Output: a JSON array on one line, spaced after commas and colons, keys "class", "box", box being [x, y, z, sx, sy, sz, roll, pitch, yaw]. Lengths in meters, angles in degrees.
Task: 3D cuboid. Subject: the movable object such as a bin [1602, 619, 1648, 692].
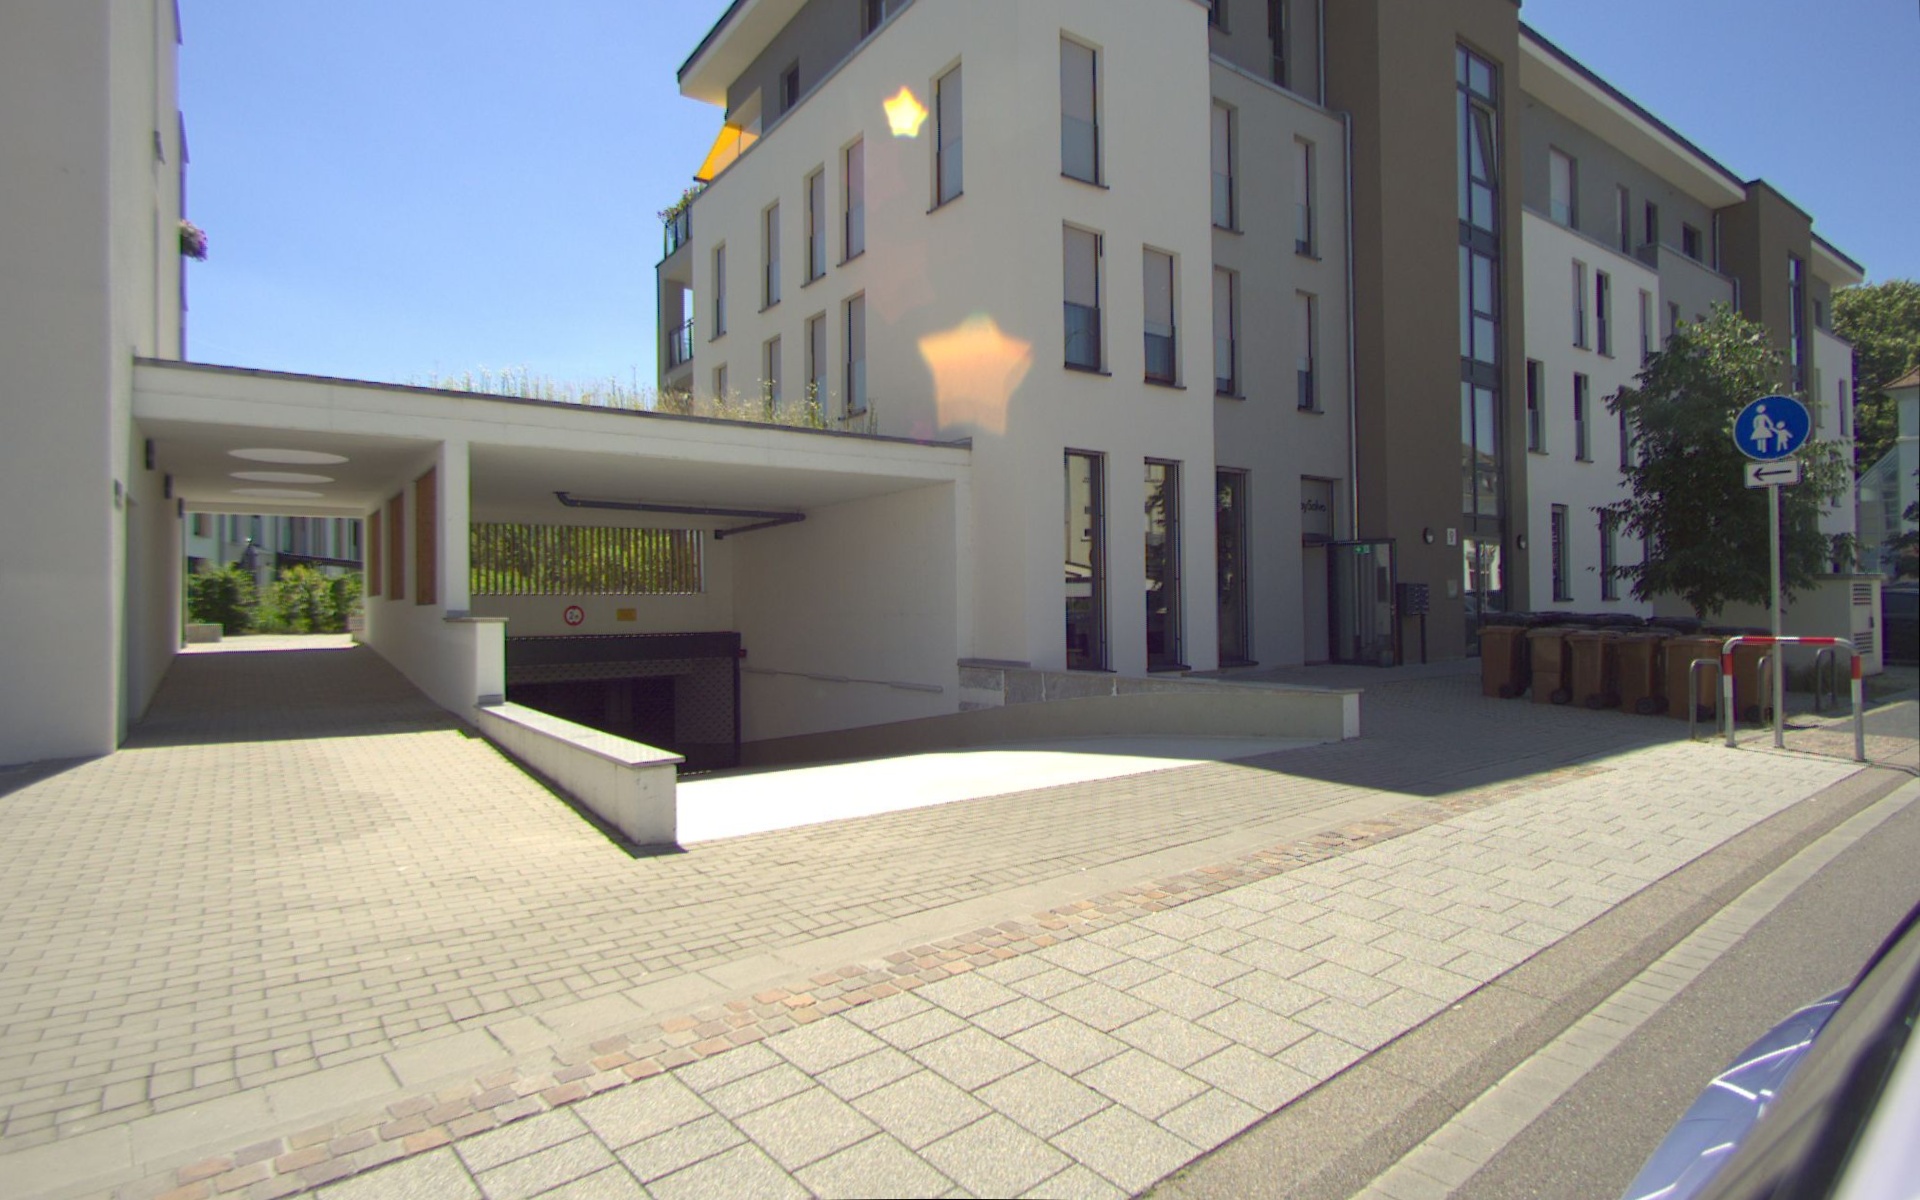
[{"class": "movable object such as a bin", "box": [9.057, 0.742, 13.794, 0.479, 0.935, 0.433, 1, 1, 31]}]

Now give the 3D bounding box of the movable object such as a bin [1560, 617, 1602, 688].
[{"class": "movable object such as a bin", "box": [8.686, 0.725, 14.162, 0.479, 0.935, 0.433, 1, 1, 31]}]

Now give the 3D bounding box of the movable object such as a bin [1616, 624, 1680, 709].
[{"class": "movable object such as a bin", "box": [8.104, 0.770, 11.925, 0.518, 0.942, 0.475, 0, 1, -36]}]

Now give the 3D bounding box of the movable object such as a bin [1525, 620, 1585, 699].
[{"class": "movable object such as a bin", "box": [7.514, 0.736, 12.781, 0.518, 0.942, 0.475, 0, 1, -36]}]

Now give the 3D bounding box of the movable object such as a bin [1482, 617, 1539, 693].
[{"class": "movable object such as a bin", "box": [7.264, 0.716, 13.361, 0.518, 0.942, 0.475, 0, 1, -36]}]

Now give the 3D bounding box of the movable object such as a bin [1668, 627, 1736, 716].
[{"class": "movable object such as a bin", "box": [8.414, 0.797, 11.480, 0.518, 0.942, 0.475, 0, 1, -36]}]

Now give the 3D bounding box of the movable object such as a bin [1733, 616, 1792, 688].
[{"class": "movable object such as a bin", "box": [11.166, 0.711, 14.077, 0.457, 0.942, 0.562, 0, 2, -42]}]

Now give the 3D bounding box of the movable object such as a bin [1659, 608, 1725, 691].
[{"class": "movable object such as a bin", "box": [9.991, 0.664, 13.820, 0.549, 1.073, 0.571, 0, 1, -35]}]

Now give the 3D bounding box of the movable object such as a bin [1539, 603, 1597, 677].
[{"class": "movable object such as a bin", "box": [9.358, 0.594, 15.569, 0.645, 1.073, 0.616, 2, 2, 42]}]

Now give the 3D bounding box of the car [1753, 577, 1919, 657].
[{"class": "car", "box": [18.106, 0.301, 19.895, 1.506, 1.463, 3.670, -1, 2, -34]}]

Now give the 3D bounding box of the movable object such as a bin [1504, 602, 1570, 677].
[{"class": "movable object such as a bin", "box": [8.701, 0.577, 15.256, 0.613, 1.073, 0.648, 0, 1, -35]}]

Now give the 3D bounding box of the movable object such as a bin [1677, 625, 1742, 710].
[{"class": "movable object such as a bin", "box": [8.813, 0.783, 11.904, 0.518, 0.942, 0.468, 0, 1, -36]}]

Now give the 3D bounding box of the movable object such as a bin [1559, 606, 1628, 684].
[{"class": "movable object such as a bin", "box": [9.181, 0.632, 14.677, 0.613, 1.073, 0.648, 0, 1, -35]}]

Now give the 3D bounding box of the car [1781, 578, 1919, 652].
[{"class": "car", "box": [19.837, 0.288, 21.208, 1.746, 1.501, 3.818, -1, 1, -38]}]

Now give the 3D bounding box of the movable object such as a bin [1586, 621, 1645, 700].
[{"class": "movable object such as a bin", "box": [8.229, 0.748, 12.712, 0.512, 0.942, 0.466, 0, 1, -36]}]

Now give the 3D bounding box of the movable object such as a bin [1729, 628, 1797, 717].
[{"class": "movable object such as a bin", "box": [9.101, 0.802, 11.469, 0.518, 0.942, 0.475, 0, 1, -36]}]

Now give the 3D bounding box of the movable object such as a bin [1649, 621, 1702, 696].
[{"class": "movable object such as a bin", "box": [9.404, 0.756, 13.310, 0.513, 0.935, 0.433, 1, 1, 31]}]

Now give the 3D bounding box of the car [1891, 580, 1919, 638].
[{"class": "car", "box": [26.301, 0.229, 25.614, 1.621, 1.481, 3.819, -1, 1, -37]}]

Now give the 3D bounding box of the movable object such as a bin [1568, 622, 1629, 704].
[{"class": "movable object such as a bin", "box": [7.794, 0.755, 12.355, 0.518, 0.942, 0.475, 0, 1, -36]}]

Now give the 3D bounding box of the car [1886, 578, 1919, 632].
[{"class": "car", "box": [29.146, 0.137, 28.484, 1.622, 1.570, 4.357, -1, 1, -39]}]

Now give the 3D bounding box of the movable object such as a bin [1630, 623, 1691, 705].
[{"class": "movable object such as a bin", "box": [8.528, 0.770, 12.322, 0.512, 0.942, 0.466, 0, 1, -36]}]

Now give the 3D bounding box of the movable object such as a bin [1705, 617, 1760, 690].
[{"class": "movable object such as a bin", "box": [10.598, 0.724, 13.886, 0.457, 0.942, 0.513, 0, 2, -42]}]

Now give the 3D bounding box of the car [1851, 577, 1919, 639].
[{"class": "car", "box": [24.212, 0.195, 24.584, 1.587, 1.480, 3.618, -1, 1, -37]}]

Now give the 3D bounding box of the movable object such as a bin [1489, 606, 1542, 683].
[{"class": "movable object such as a bin", "box": [8.009, 0.623, 14.587, 0.568, 1.054, 0.552, 2, 2, 40]}]

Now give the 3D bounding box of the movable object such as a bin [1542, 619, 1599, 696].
[{"class": "movable object such as a bin", "box": [7.942, 0.731, 13.162, 0.512, 0.942, 0.466, 0, 1, -36]}]

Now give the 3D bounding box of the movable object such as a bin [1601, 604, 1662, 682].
[{"class": "movable object such as a bin", "box": [9.863, 0.613, 14.867, 0.645, 1.073, 0.616, 2, 2, 42]}]

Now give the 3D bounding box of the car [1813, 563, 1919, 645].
[{"class": "car", "box": [21.937, 0.089, 22.847, 1.807, 1.809, 3.818, -1, 0, -38]}]
